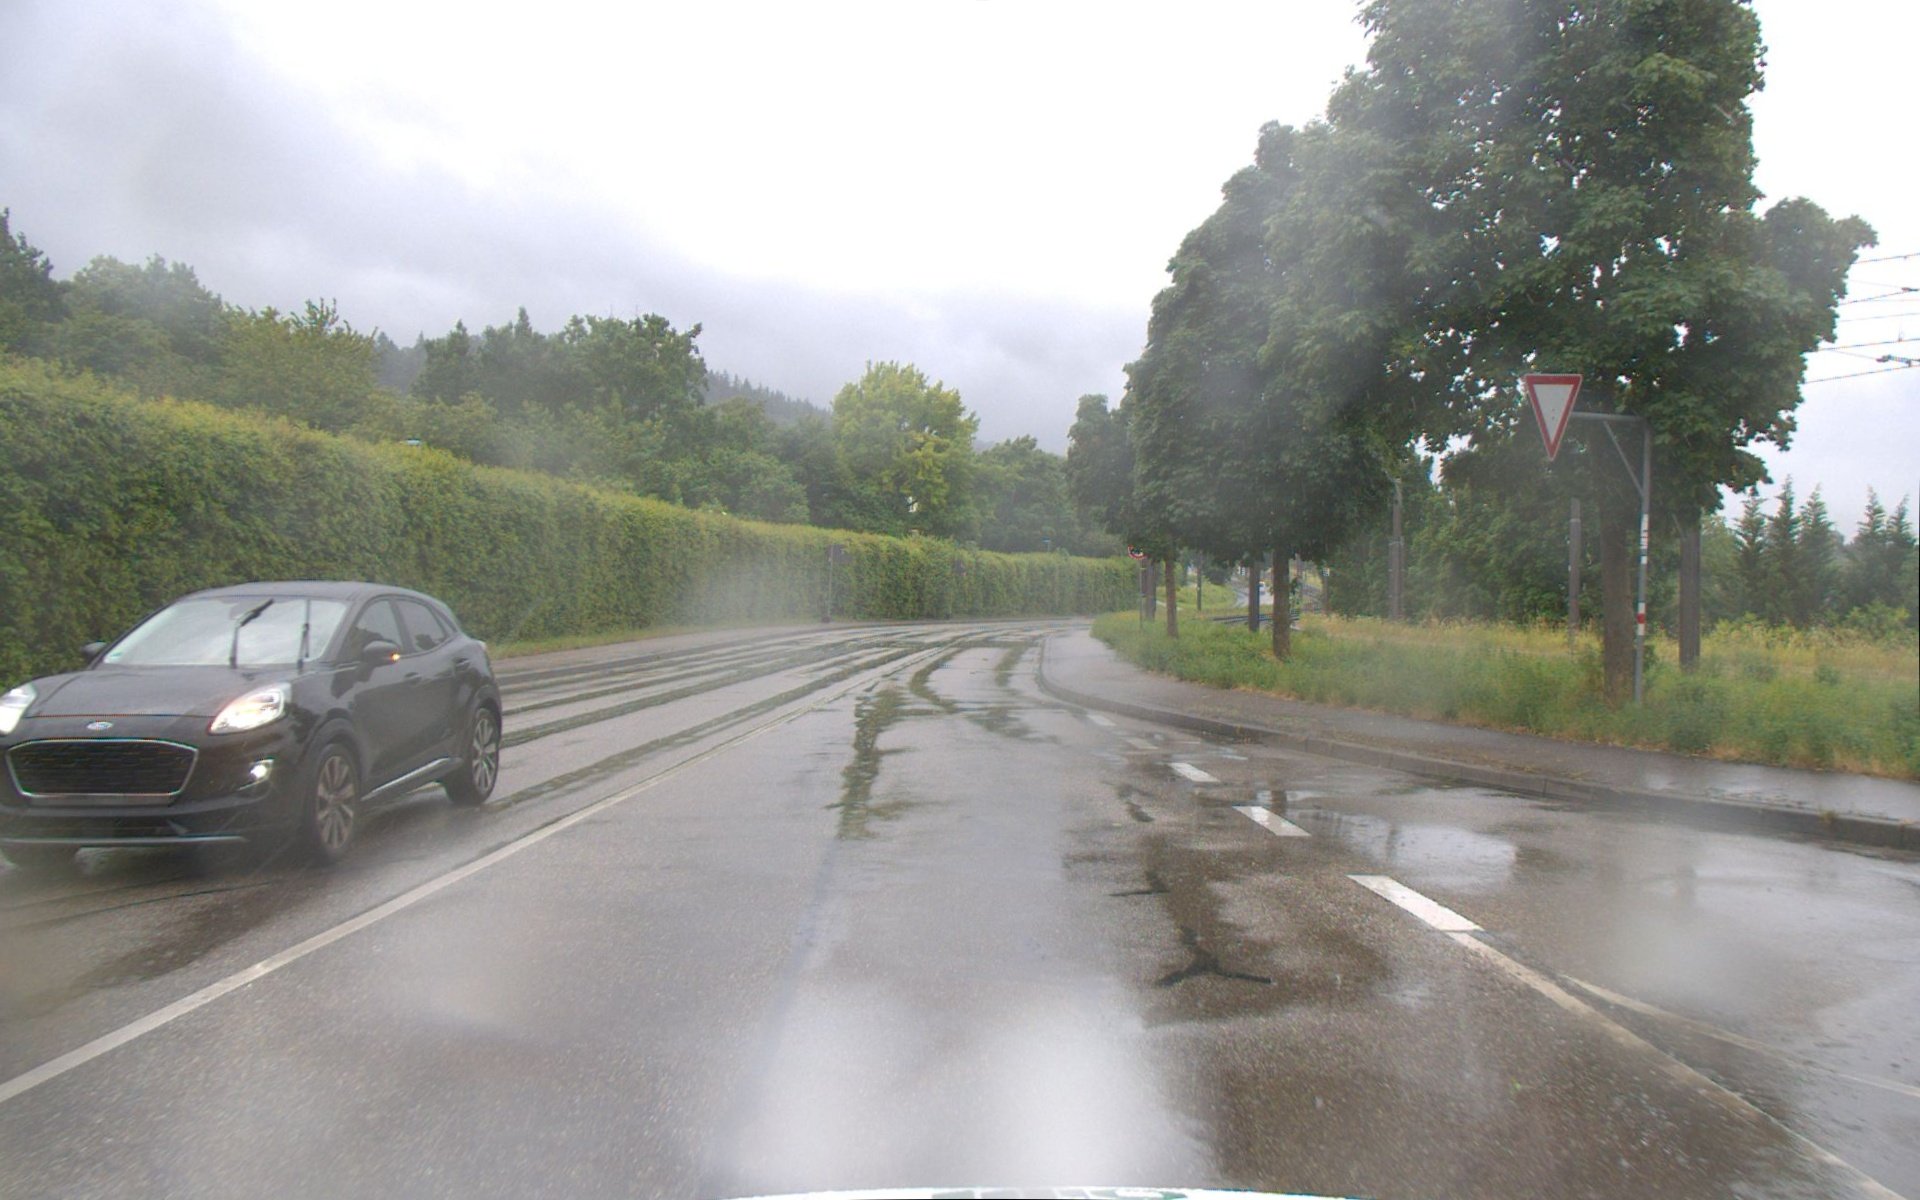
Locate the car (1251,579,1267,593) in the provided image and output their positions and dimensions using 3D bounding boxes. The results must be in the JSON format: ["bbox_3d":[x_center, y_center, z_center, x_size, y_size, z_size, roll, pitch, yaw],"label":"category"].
[{"bbox_3d":[44.562,-2.111,246.567,1.912,1.937,4.123,0,1,16],"label":"car"}]

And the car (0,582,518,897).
[{"bbox_3d":[-4.146,0.661,10.133,1.748,1.531,4.061,0,1,0],"label":"car"}]
